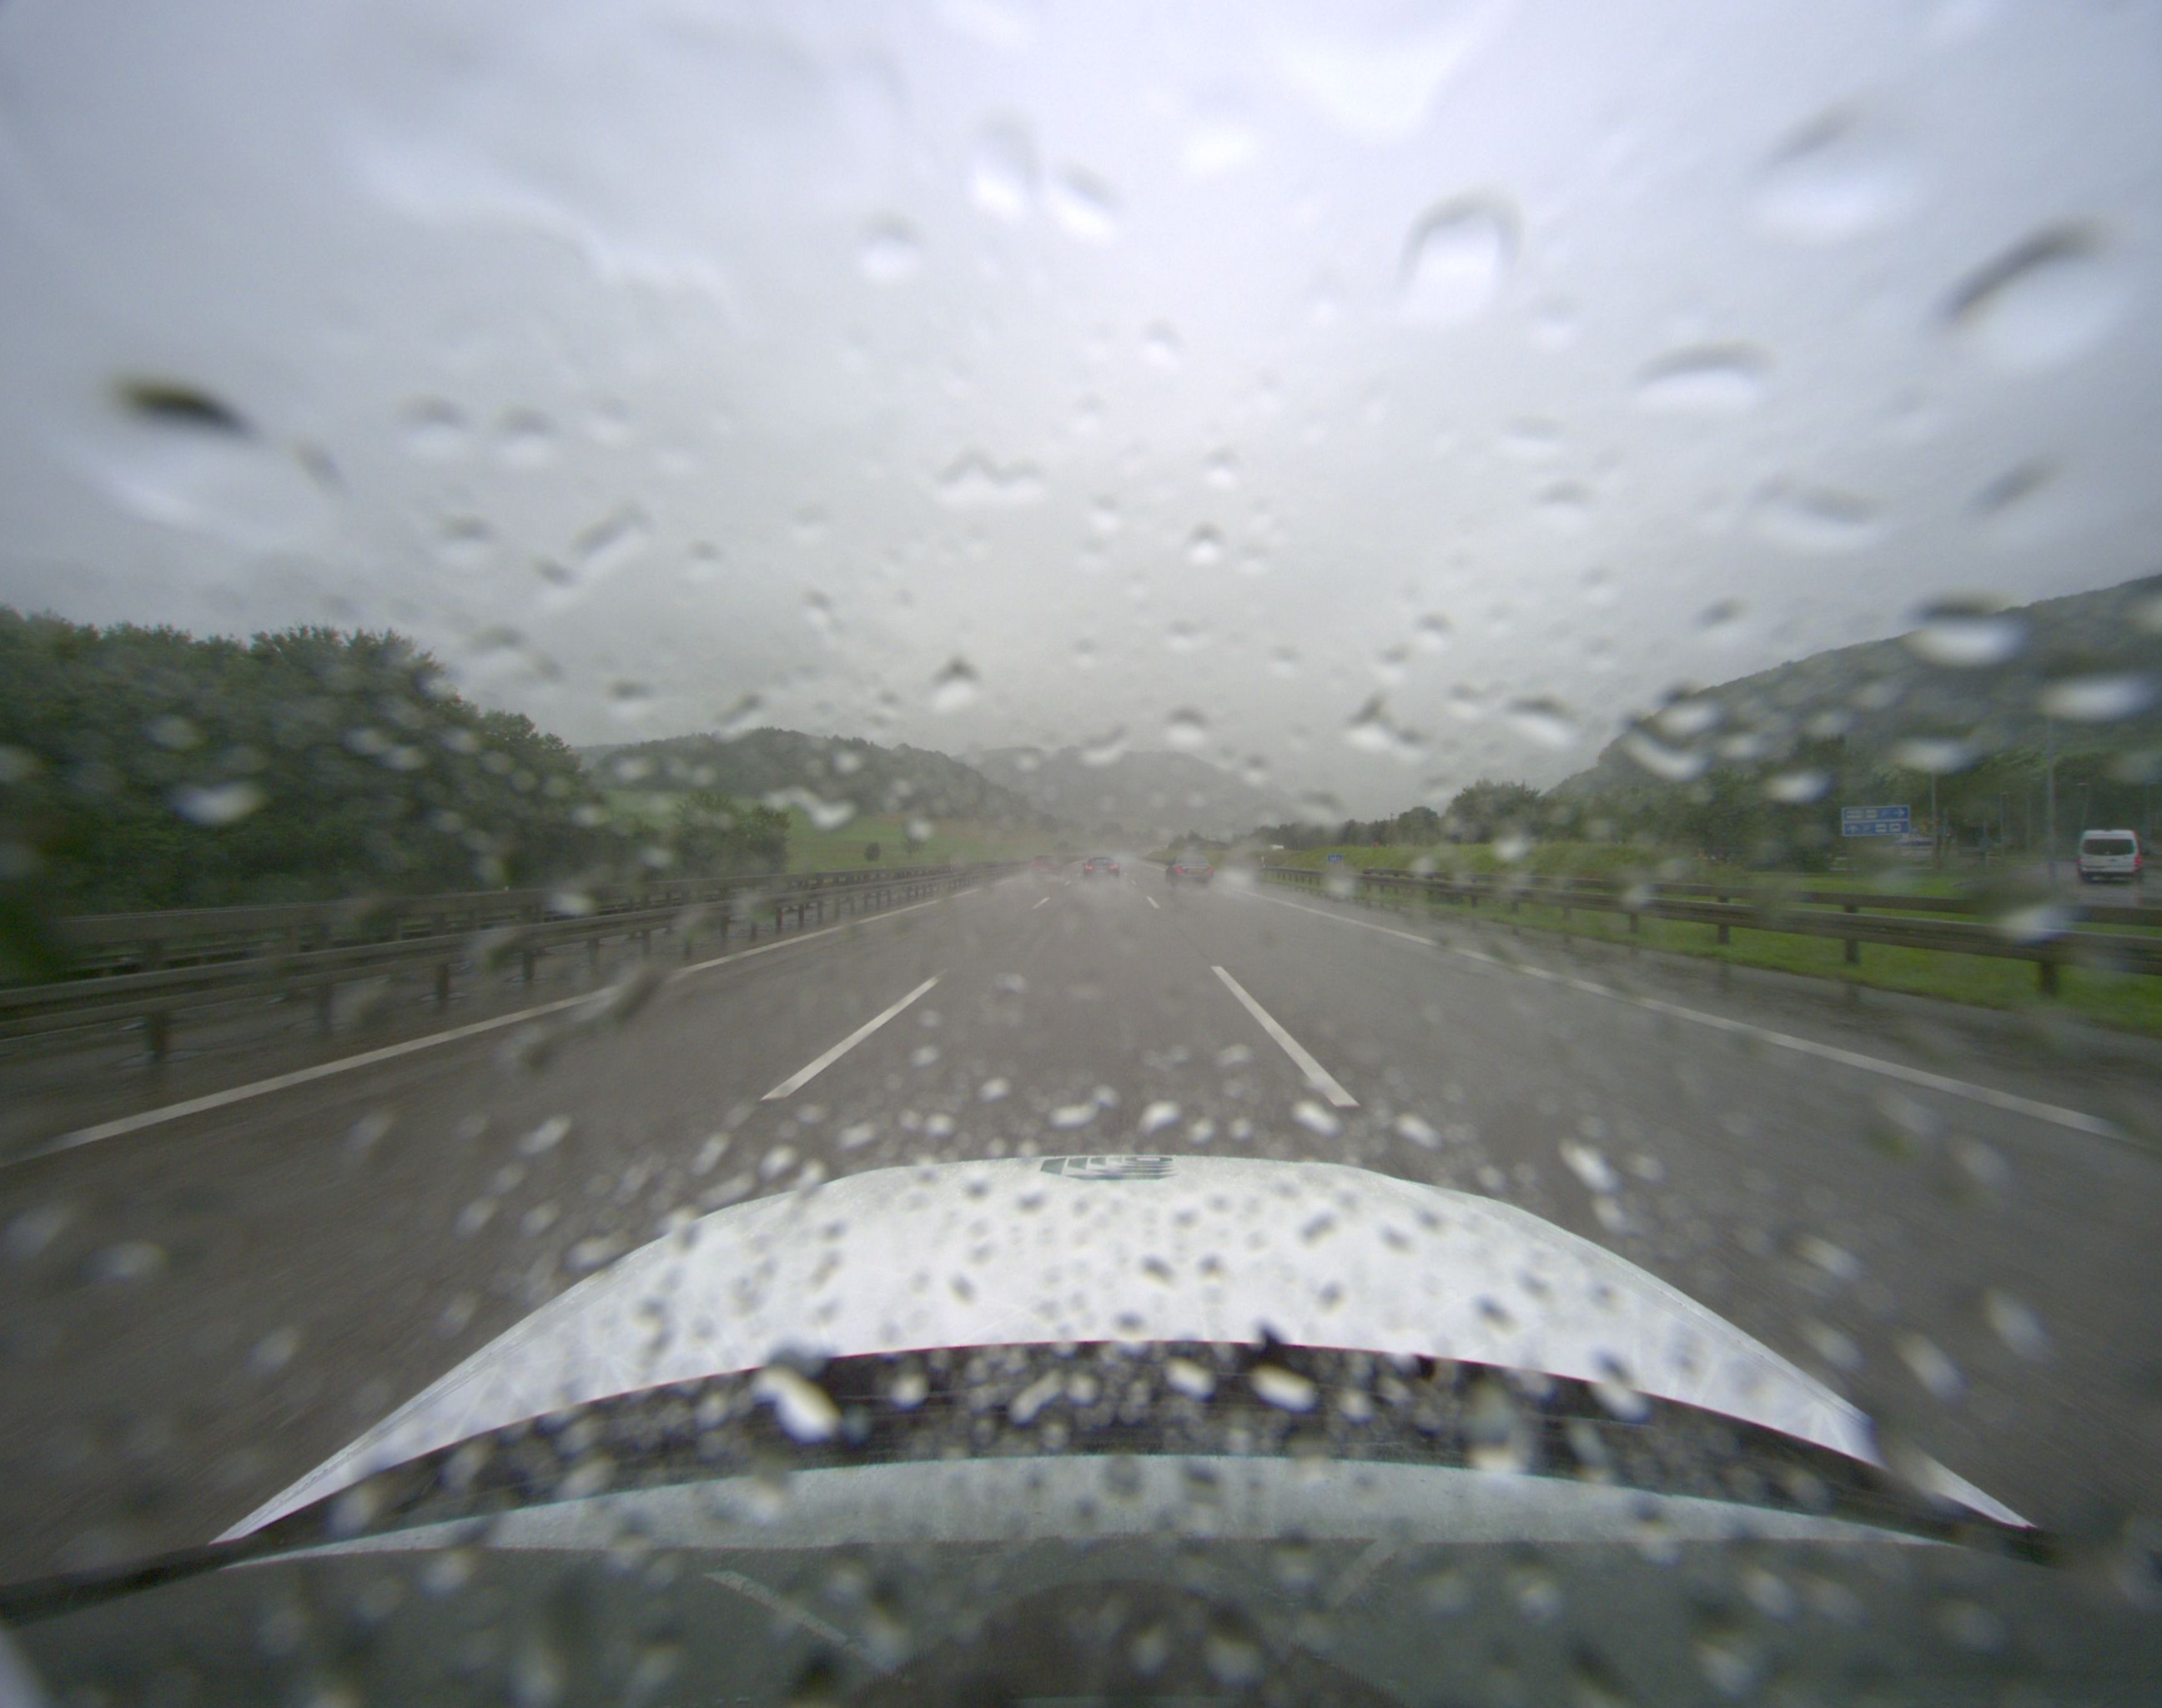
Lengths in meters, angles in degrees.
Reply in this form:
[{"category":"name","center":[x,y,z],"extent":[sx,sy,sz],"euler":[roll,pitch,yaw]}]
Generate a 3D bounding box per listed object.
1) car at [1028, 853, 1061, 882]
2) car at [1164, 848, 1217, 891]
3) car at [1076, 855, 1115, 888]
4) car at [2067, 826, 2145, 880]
[{"category":"car","center":[-2.366,0.875,54.008],"extent":[1.878,1.816,4.001],"euler":[-1,0,1]},{"category":"car","center":[4.882,0.669,36.708],"extent":[1.964,1.760,4.002],"euler":[-1,0,2]},{"category":"car","center":[0.763,0.839,41.046],"extent":[1.852,1.589,4.002],"euler":[0,0,2]},{"category":"car","center":[52.945,-0.057,42.056],"extent":[6.754,2.582,2.387],"euler":[0,0,-38]}]
